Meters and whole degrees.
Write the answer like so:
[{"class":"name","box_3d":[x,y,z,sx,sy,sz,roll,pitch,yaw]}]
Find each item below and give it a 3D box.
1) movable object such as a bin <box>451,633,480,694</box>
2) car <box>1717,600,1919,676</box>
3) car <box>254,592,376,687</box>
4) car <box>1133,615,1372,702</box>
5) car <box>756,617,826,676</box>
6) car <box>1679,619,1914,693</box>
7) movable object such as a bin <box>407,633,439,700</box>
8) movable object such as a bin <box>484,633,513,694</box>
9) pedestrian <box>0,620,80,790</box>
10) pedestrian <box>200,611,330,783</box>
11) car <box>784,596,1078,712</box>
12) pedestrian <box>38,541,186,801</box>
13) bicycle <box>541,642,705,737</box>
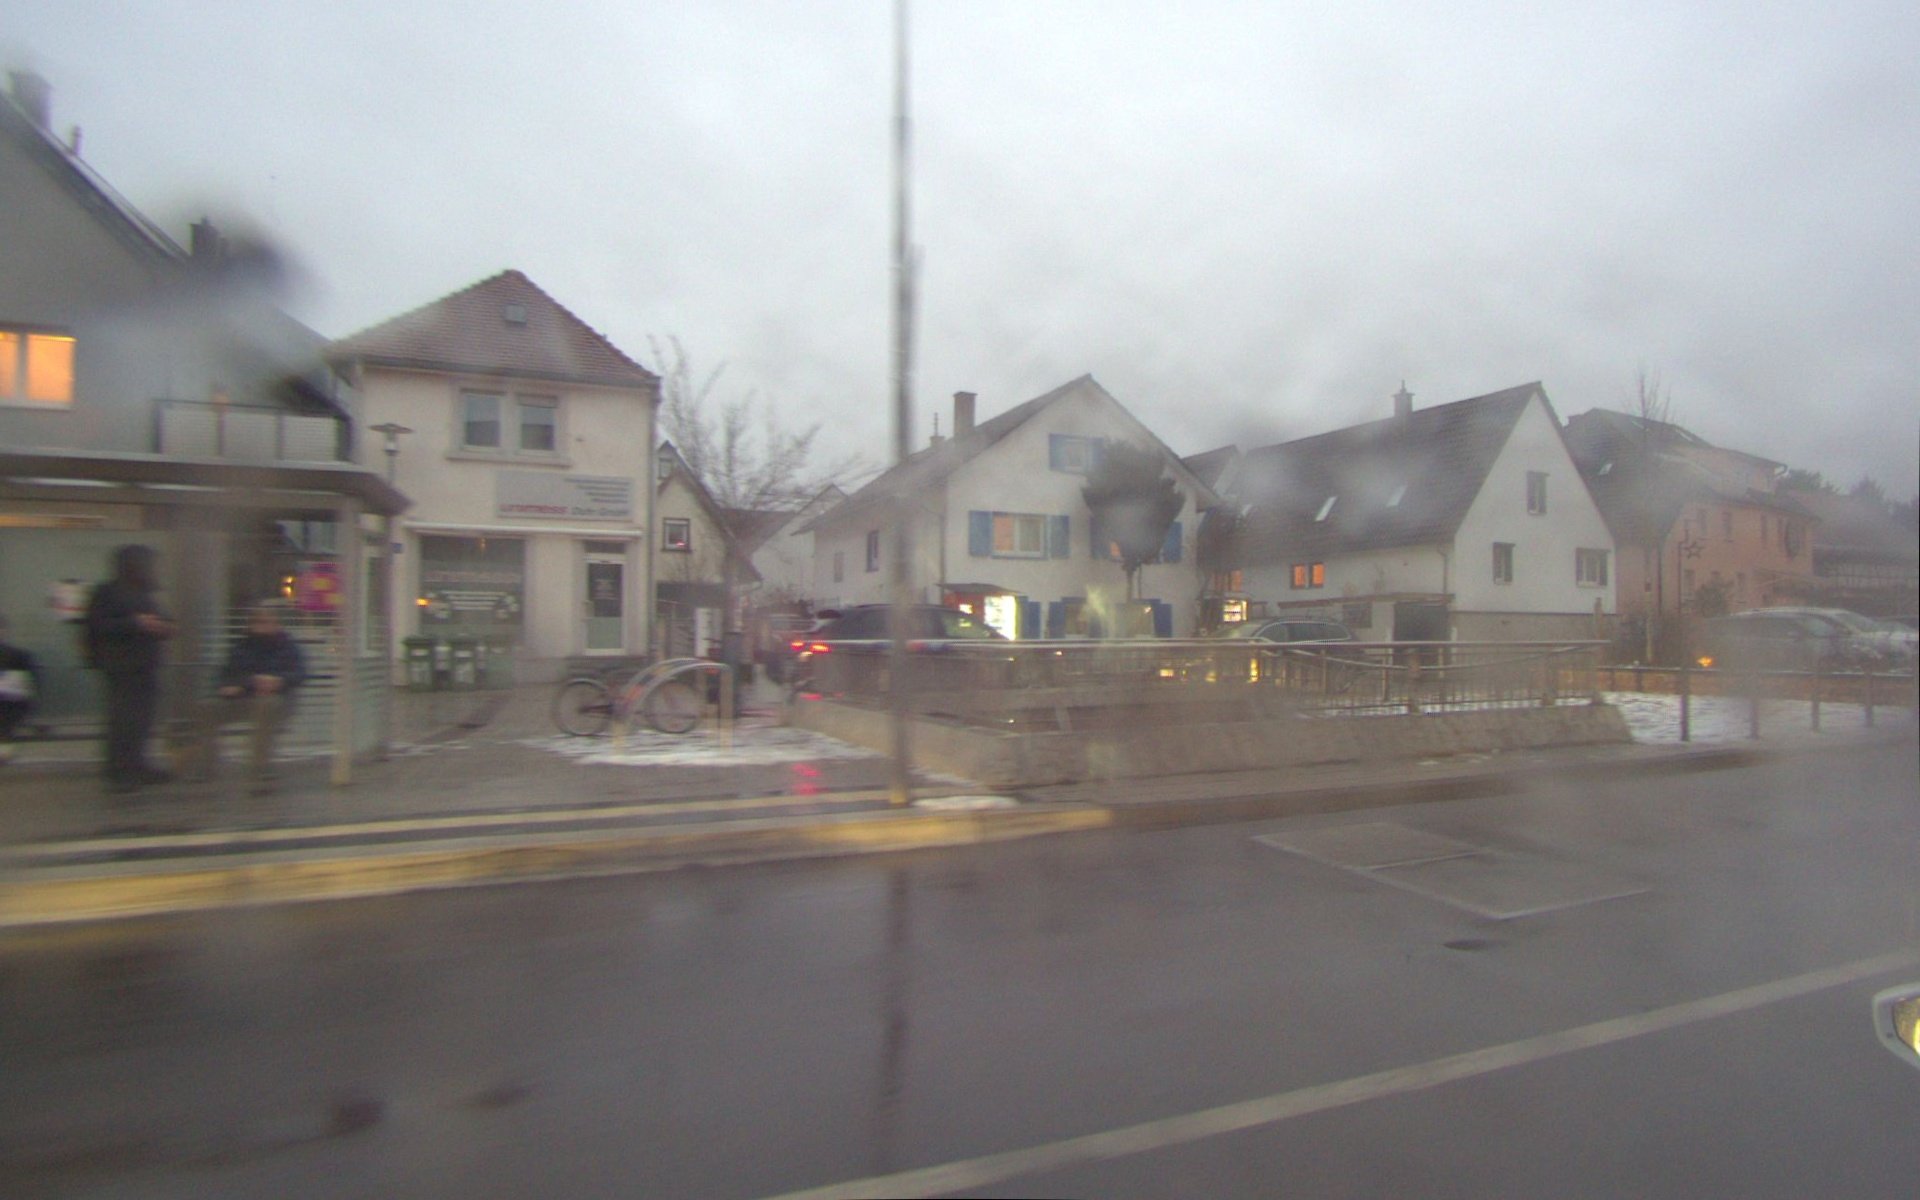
[{"class":"movable object such as a bin","box_3d":[-9.380,1.209,19.063,0.447,1.135,0.286,3,-1,-25]},{"class":"car","box_3d":[19.517,0.814,22.505,1.690,1.543,3.785,1,-1,-23]},{"class":"car","box_3d":[-13.825,0.843,21.711,1.490,1.877,3.411,1,-2,-21]},{"class":"car","box_3d":[5.764,1.096,19.692,4.513,1.502,1.796,0,-3,-28]},{"class":"car","box_3d":[-5.852,1.621,34.447,1.651,1.865,3.647,0,-3,-21]},{"class":"car","box_3d":[17.292,1.117,20.920,1.582,1.390,3.429,1,-2,-30]},{"class":"movable object such as a bin","box_3d":[-10.027,1.240,18.761,0.447,1.225,0.286,3,-1,-25]},{"class":"movable object such as a bin","box_3d":[-8.856,1.220,19.279,0.447,1.157,0.286,3,-1,-25]},{"class":"pedestrian","box_3d":[-7.279,0.755,7.381,0.888,1.174,0.987,-1,0,-20]},{"class":"pedestrian","box_3d":[-5.525,0.735,8.025,0.740,1.288,0.683,0,0,-25]},{"class":"car","box_3d":[-0.471,0.857,16.571,4.501,1.723,1.751,0,-4,-24]},{"class":"pedestrian","box_3d":[-6.134,0.482,7.310,0.679,1.765,0.744,0,0,-29]},{"class":"bicycle","box_3d":[-3.781,0.994,11.369,1.709,1.023,0.470,0,-1,-14]}]
